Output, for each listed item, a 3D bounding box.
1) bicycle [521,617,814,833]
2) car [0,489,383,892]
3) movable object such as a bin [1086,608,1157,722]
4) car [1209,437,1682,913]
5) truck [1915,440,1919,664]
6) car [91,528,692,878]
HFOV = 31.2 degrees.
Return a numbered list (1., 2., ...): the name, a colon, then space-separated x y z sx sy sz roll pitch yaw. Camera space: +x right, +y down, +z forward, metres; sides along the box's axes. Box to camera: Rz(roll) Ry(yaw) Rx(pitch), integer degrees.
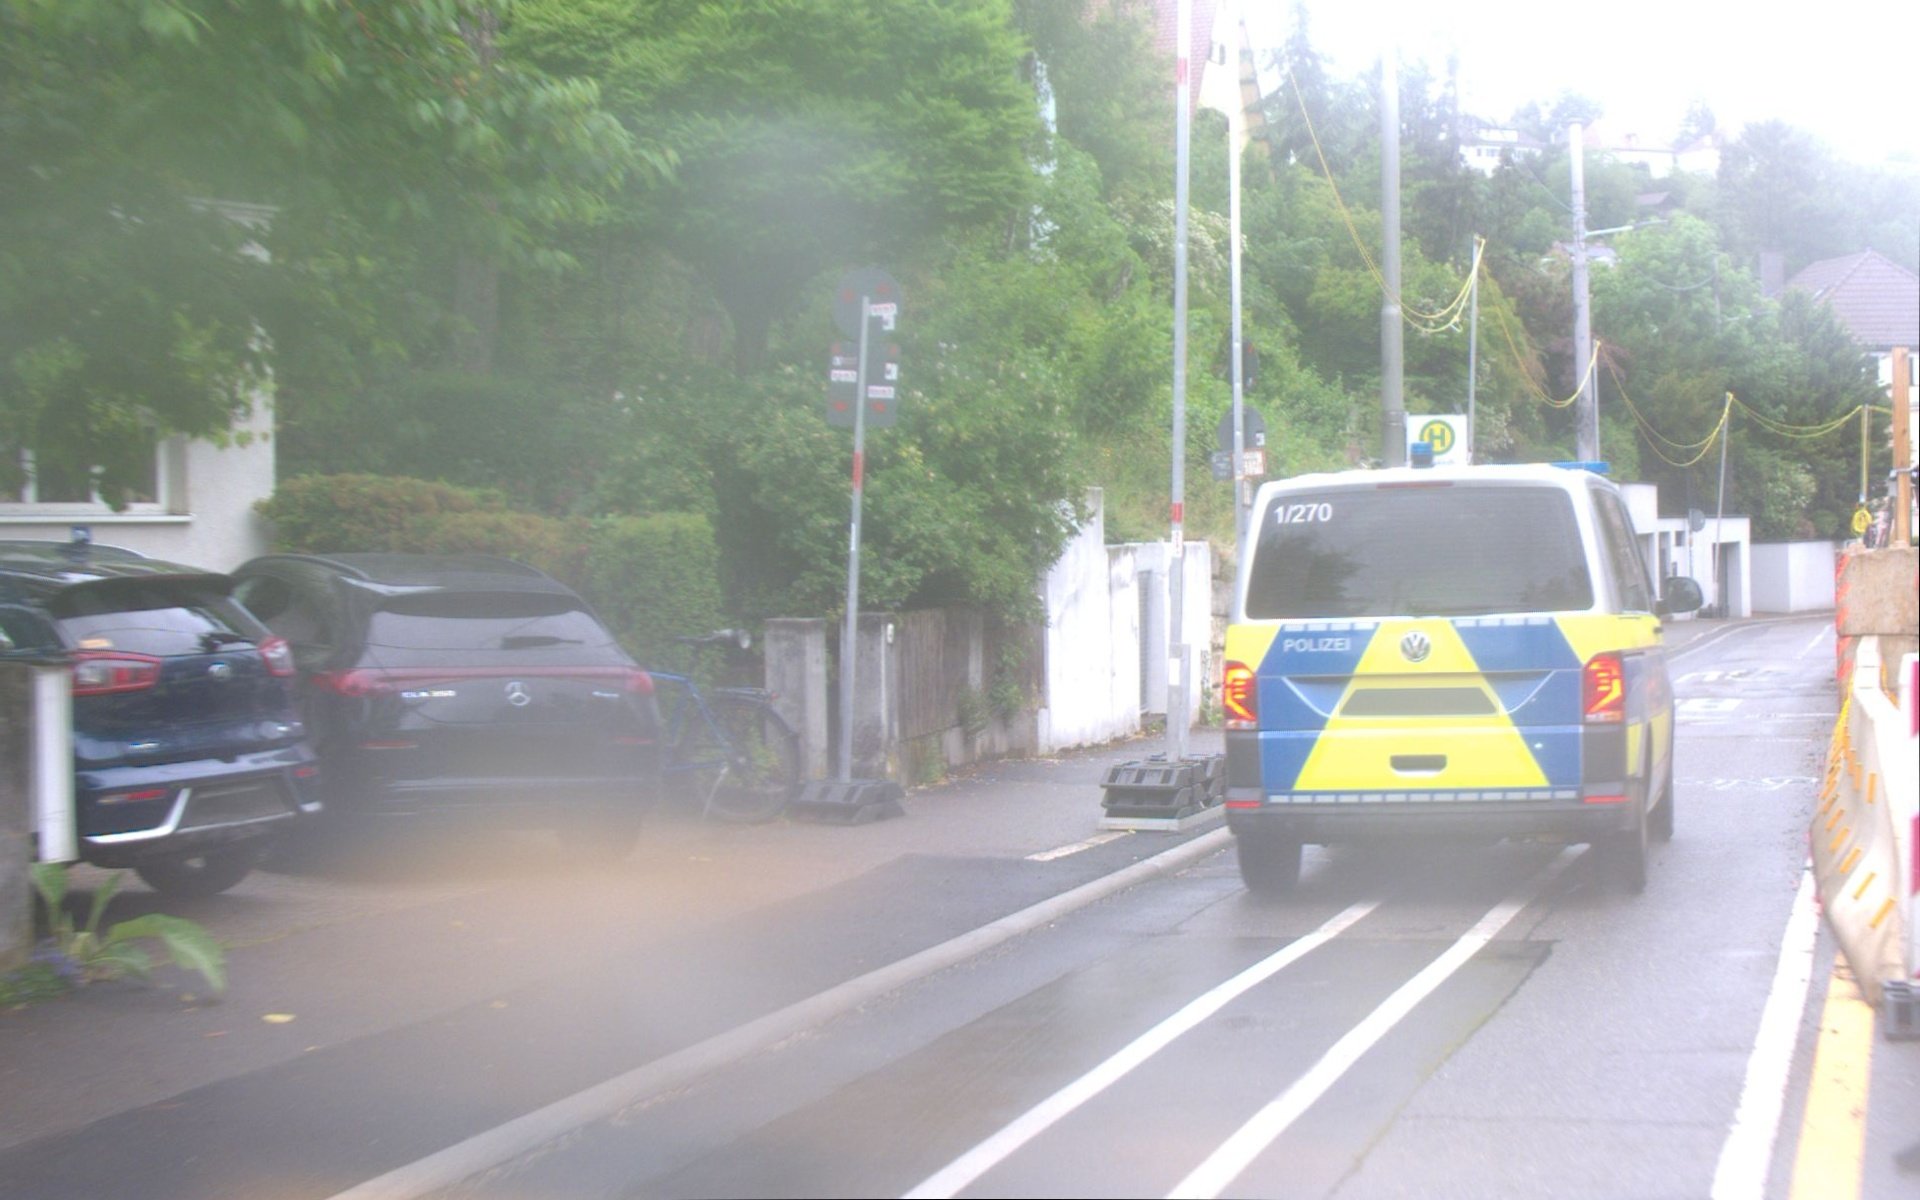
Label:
1. bicycle: -1.616 0.671 18.916 1.621 1.127 0.442 1 0 29
2. car: -4.695 0.323 14.671 3.992 1.520 1.938 1 0 25
3. movable object such as a bin: 1.390 0.554 29.571 0.507 0.961 0.498 1 0 15
4. car: 2.518 0.314 16.889 1.909 2.004 4.437 1 0 13
5. truck: 6.841 0.120 19.696 2.552 2.101 3.301 -1 -1 15
6. car: -2.950 0.433 17.119 1.780 1.520 4.001 1 0 -27
